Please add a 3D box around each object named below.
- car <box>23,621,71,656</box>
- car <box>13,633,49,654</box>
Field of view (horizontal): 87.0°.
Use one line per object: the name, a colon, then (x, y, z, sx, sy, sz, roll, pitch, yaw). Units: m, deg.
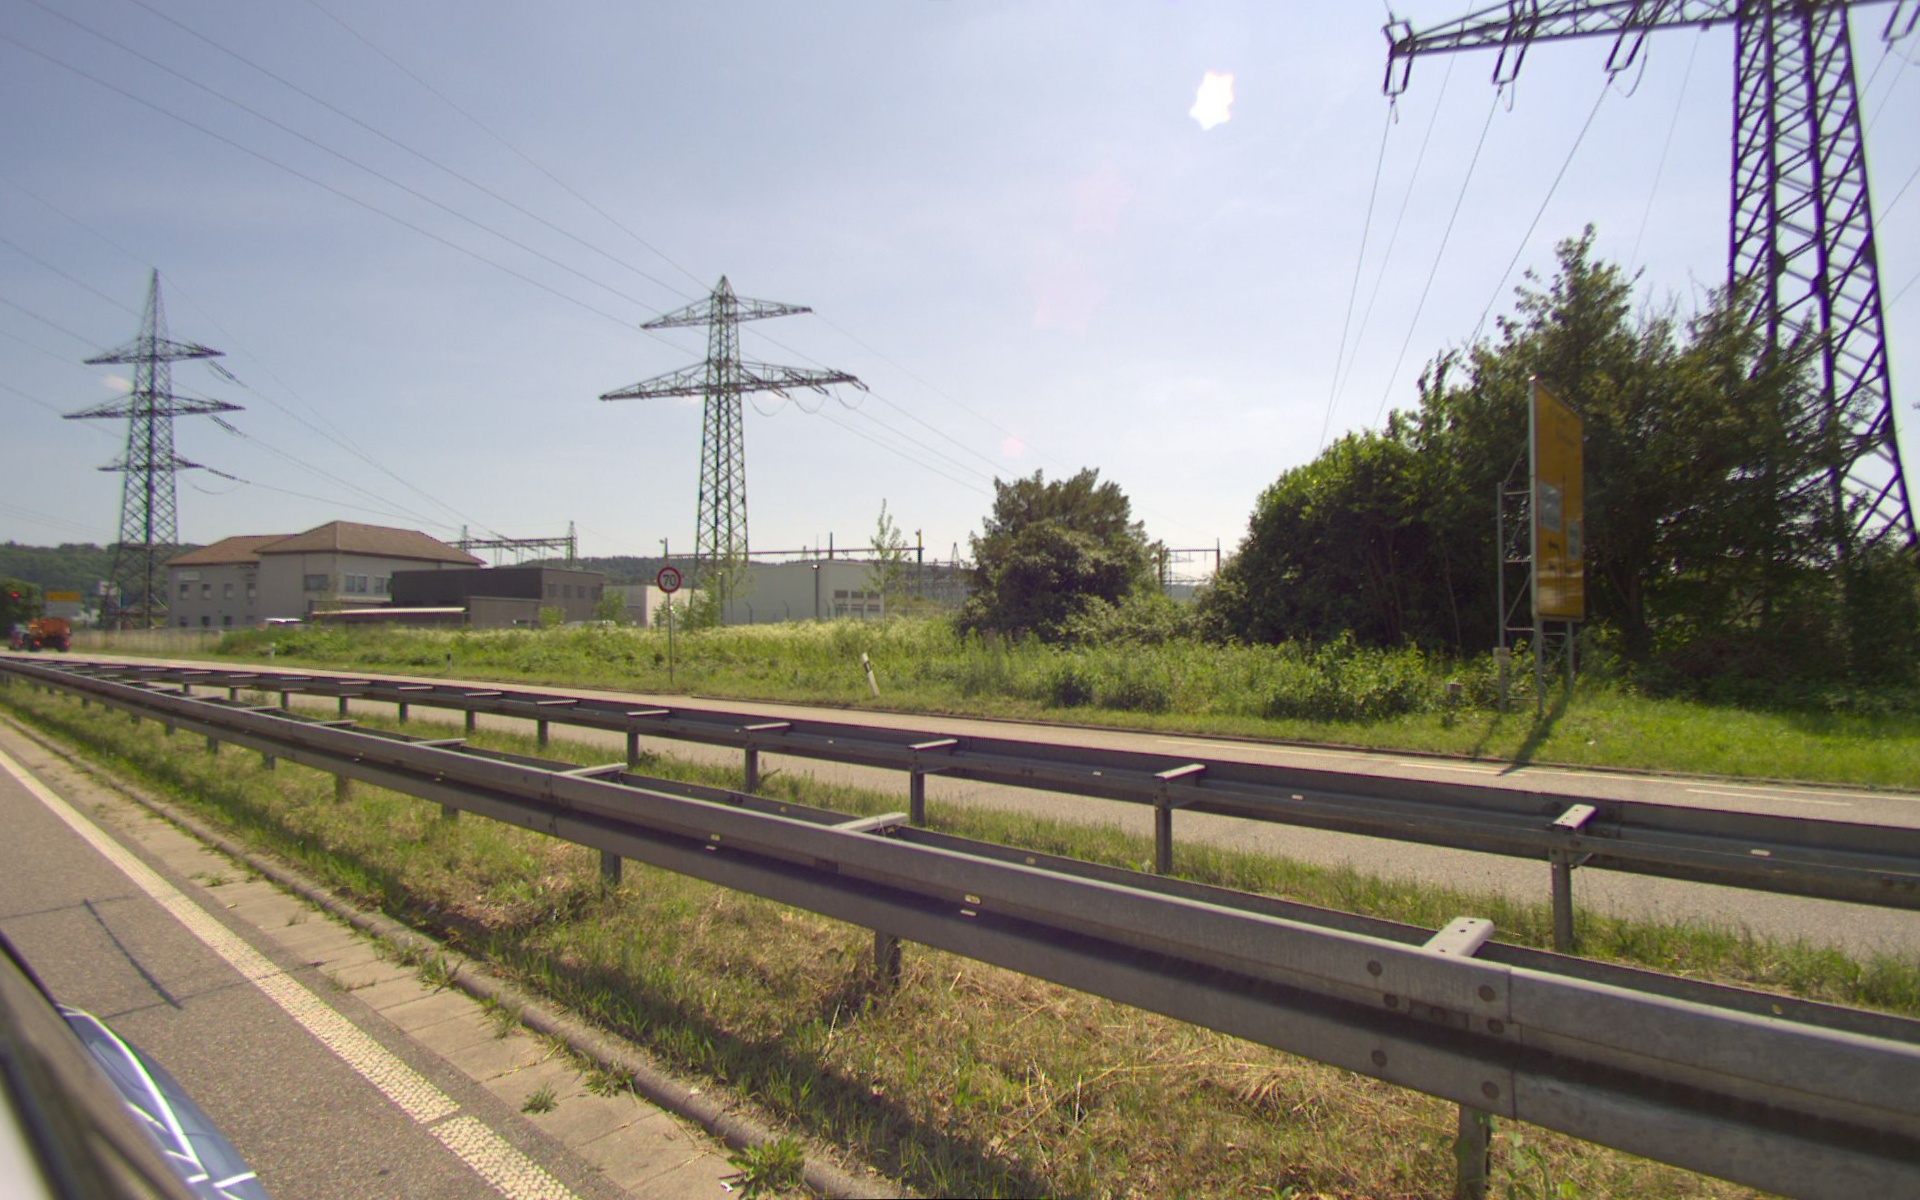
car: (-82.950, 3.524, 91.915, 5.636, 3.084, 2.573, -2, -3, 41)
car: (-91.667, 4.227, 99.851, 3.994, 1.929, 1.975, -1, 0, 38)
